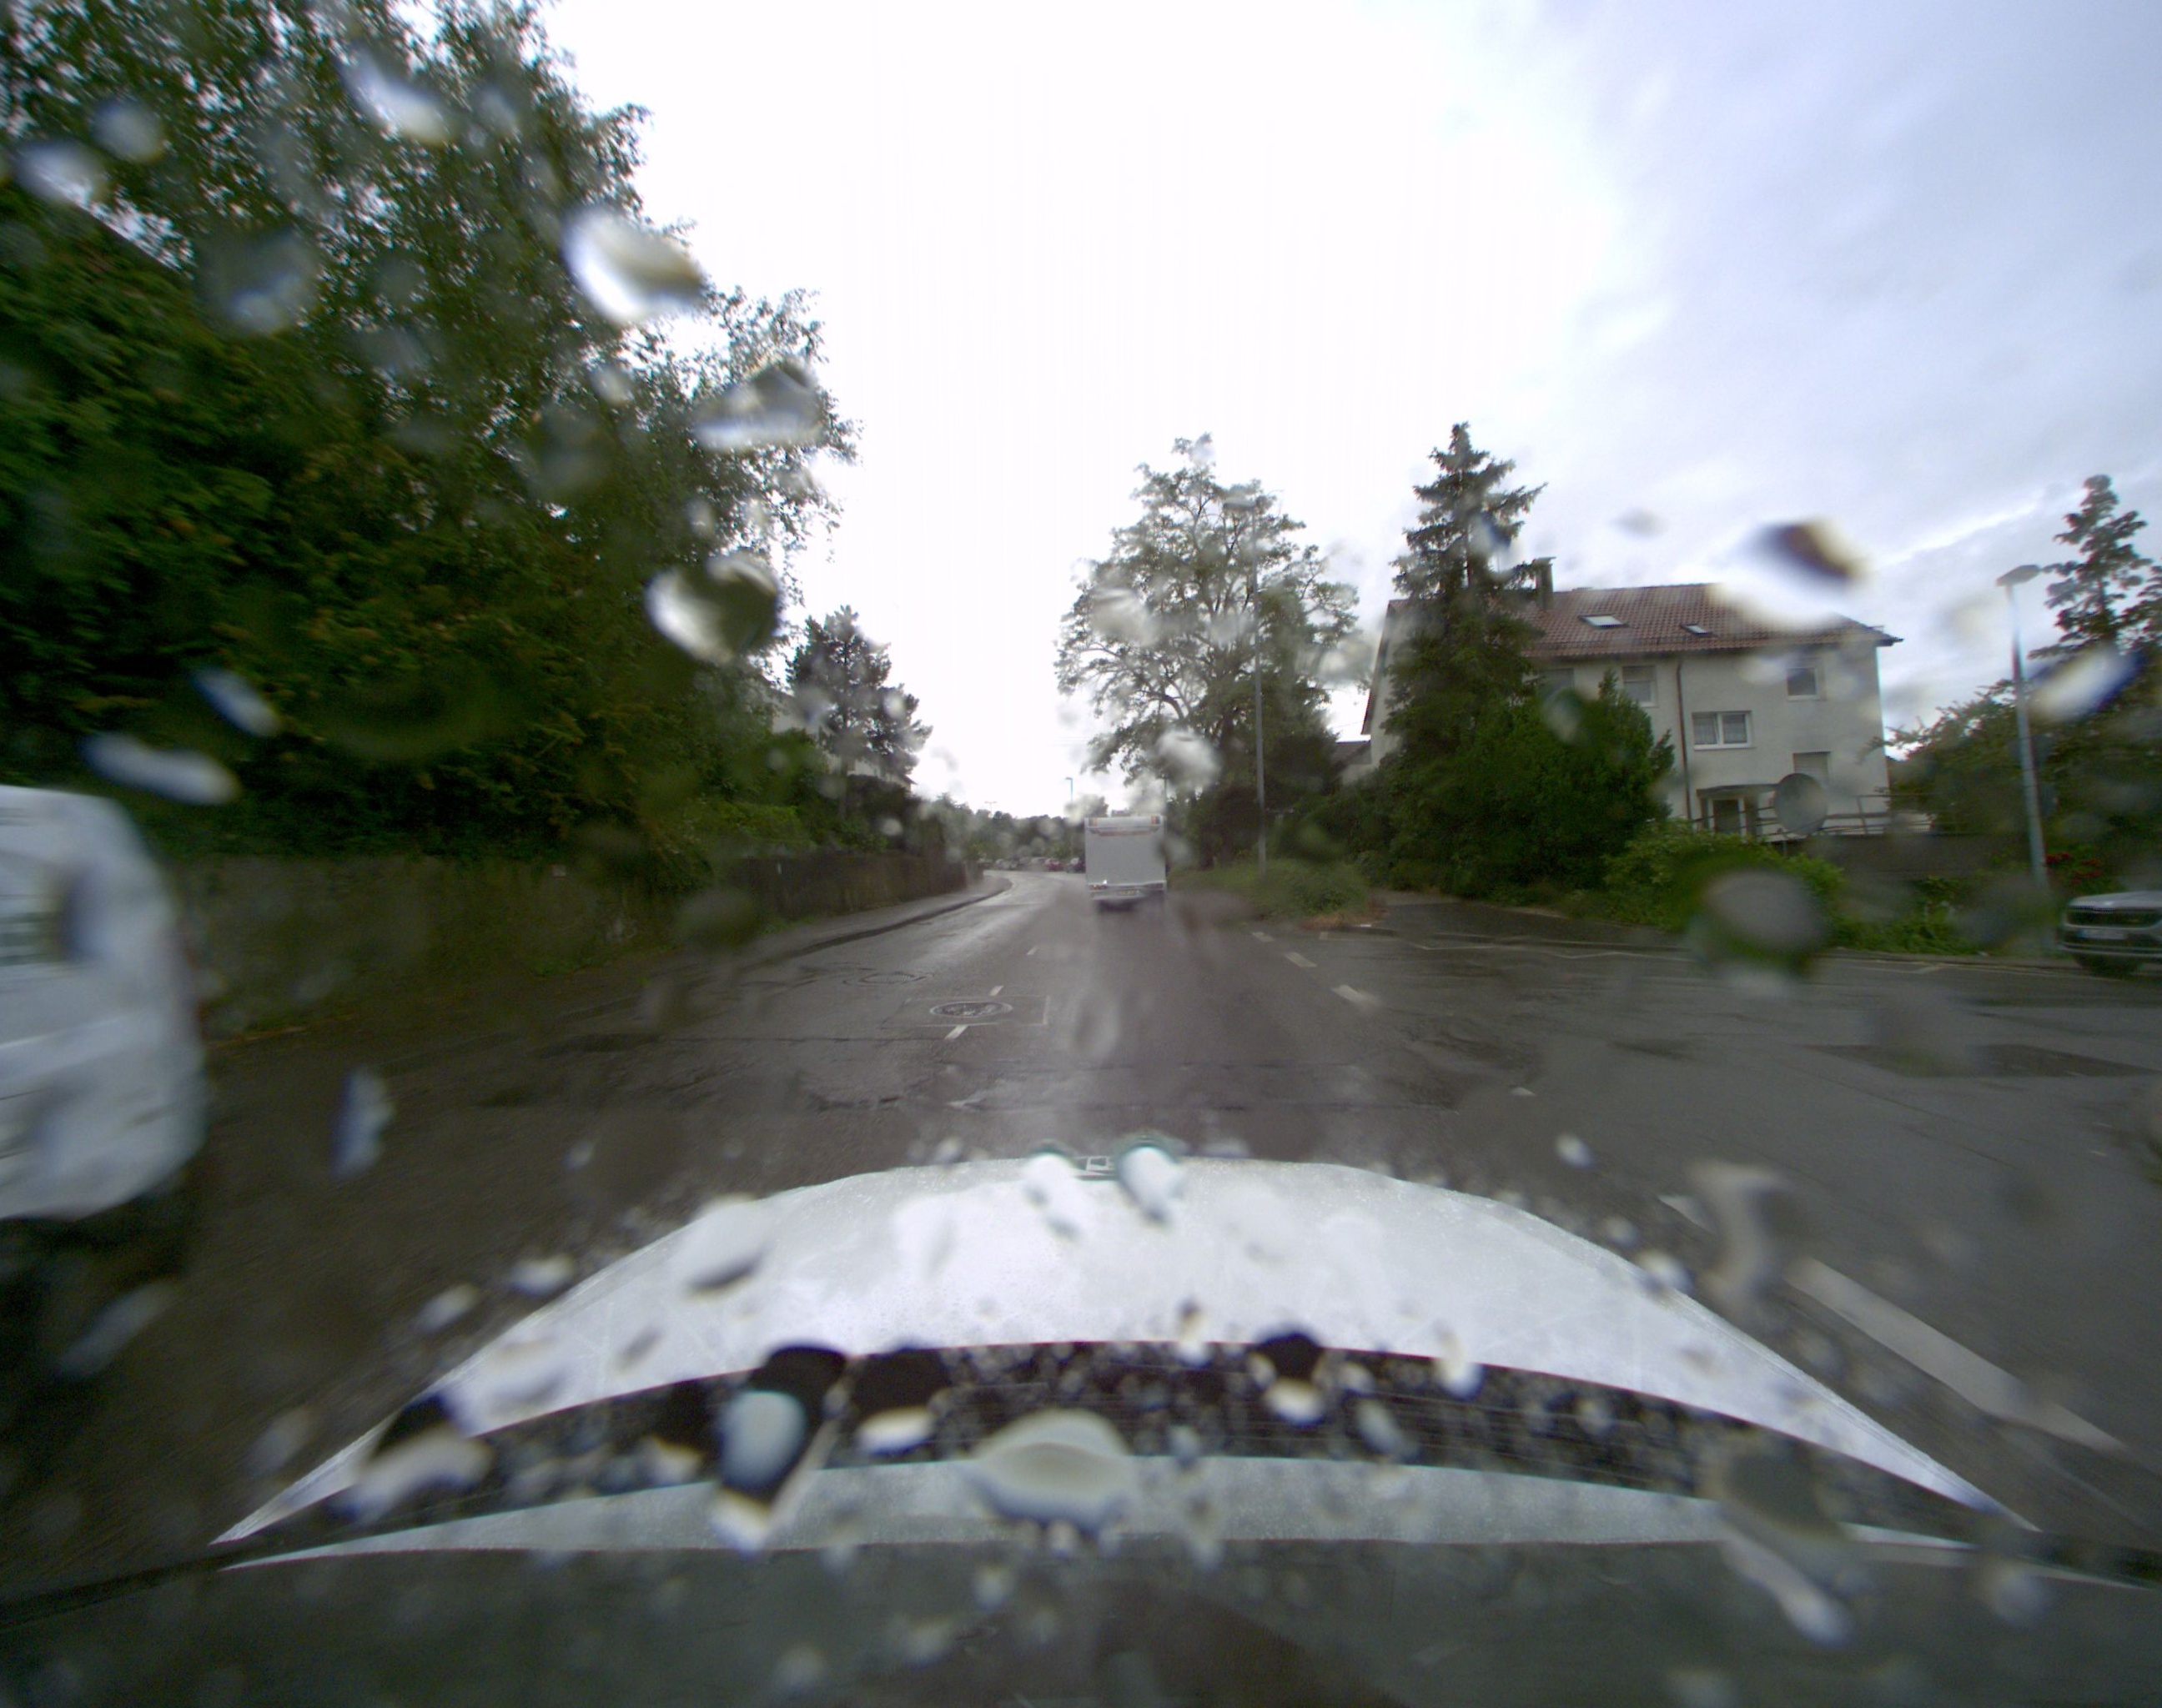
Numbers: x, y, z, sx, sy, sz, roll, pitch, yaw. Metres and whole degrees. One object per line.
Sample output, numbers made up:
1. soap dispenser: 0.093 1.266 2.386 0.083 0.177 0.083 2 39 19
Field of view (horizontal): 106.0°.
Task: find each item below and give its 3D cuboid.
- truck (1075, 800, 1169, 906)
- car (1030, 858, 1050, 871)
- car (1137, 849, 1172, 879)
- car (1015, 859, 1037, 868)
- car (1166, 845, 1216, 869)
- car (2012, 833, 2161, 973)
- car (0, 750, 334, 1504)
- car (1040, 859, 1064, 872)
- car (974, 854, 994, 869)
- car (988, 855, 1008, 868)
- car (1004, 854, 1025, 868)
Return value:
1. truck: 1.175 0.108 25.454 2.507 2.818 6.200 2 -3 1
2. car: -4.879 1.285 97.295 1.543 1.327 3.978 3 -3 -15
3. car: 4.472 0.671 49.921 1.985 1.640 4.002 2 -3 3
4. car: -6.966 1.188 102.662 1.653 1.101 3.969 -1 0 -23
5. car: 8.589 0.215 63.786 3.614 1.664 1.998 2 -3 -1
6. car: 15.039 0.688 10.118 4.411 1.652 1.926 2 -3 7
7. car: -3.493 0.619 0.495 1.833 1.755 4.423 1 0 2
8. car: -3.364 1.353 92.610 1.545 1.327 3.837 3 -3 -21
9. car: -14.810 1.135 124.366 1.747 2.044 4.479 3 -3 -23
10. car: -11.577 1.076 113.334 1.653 1.721 3.969 3 -3 -23
11. car: -8.826 0.923 107.855 1.653 1.721 3.969 3 -3 -23
